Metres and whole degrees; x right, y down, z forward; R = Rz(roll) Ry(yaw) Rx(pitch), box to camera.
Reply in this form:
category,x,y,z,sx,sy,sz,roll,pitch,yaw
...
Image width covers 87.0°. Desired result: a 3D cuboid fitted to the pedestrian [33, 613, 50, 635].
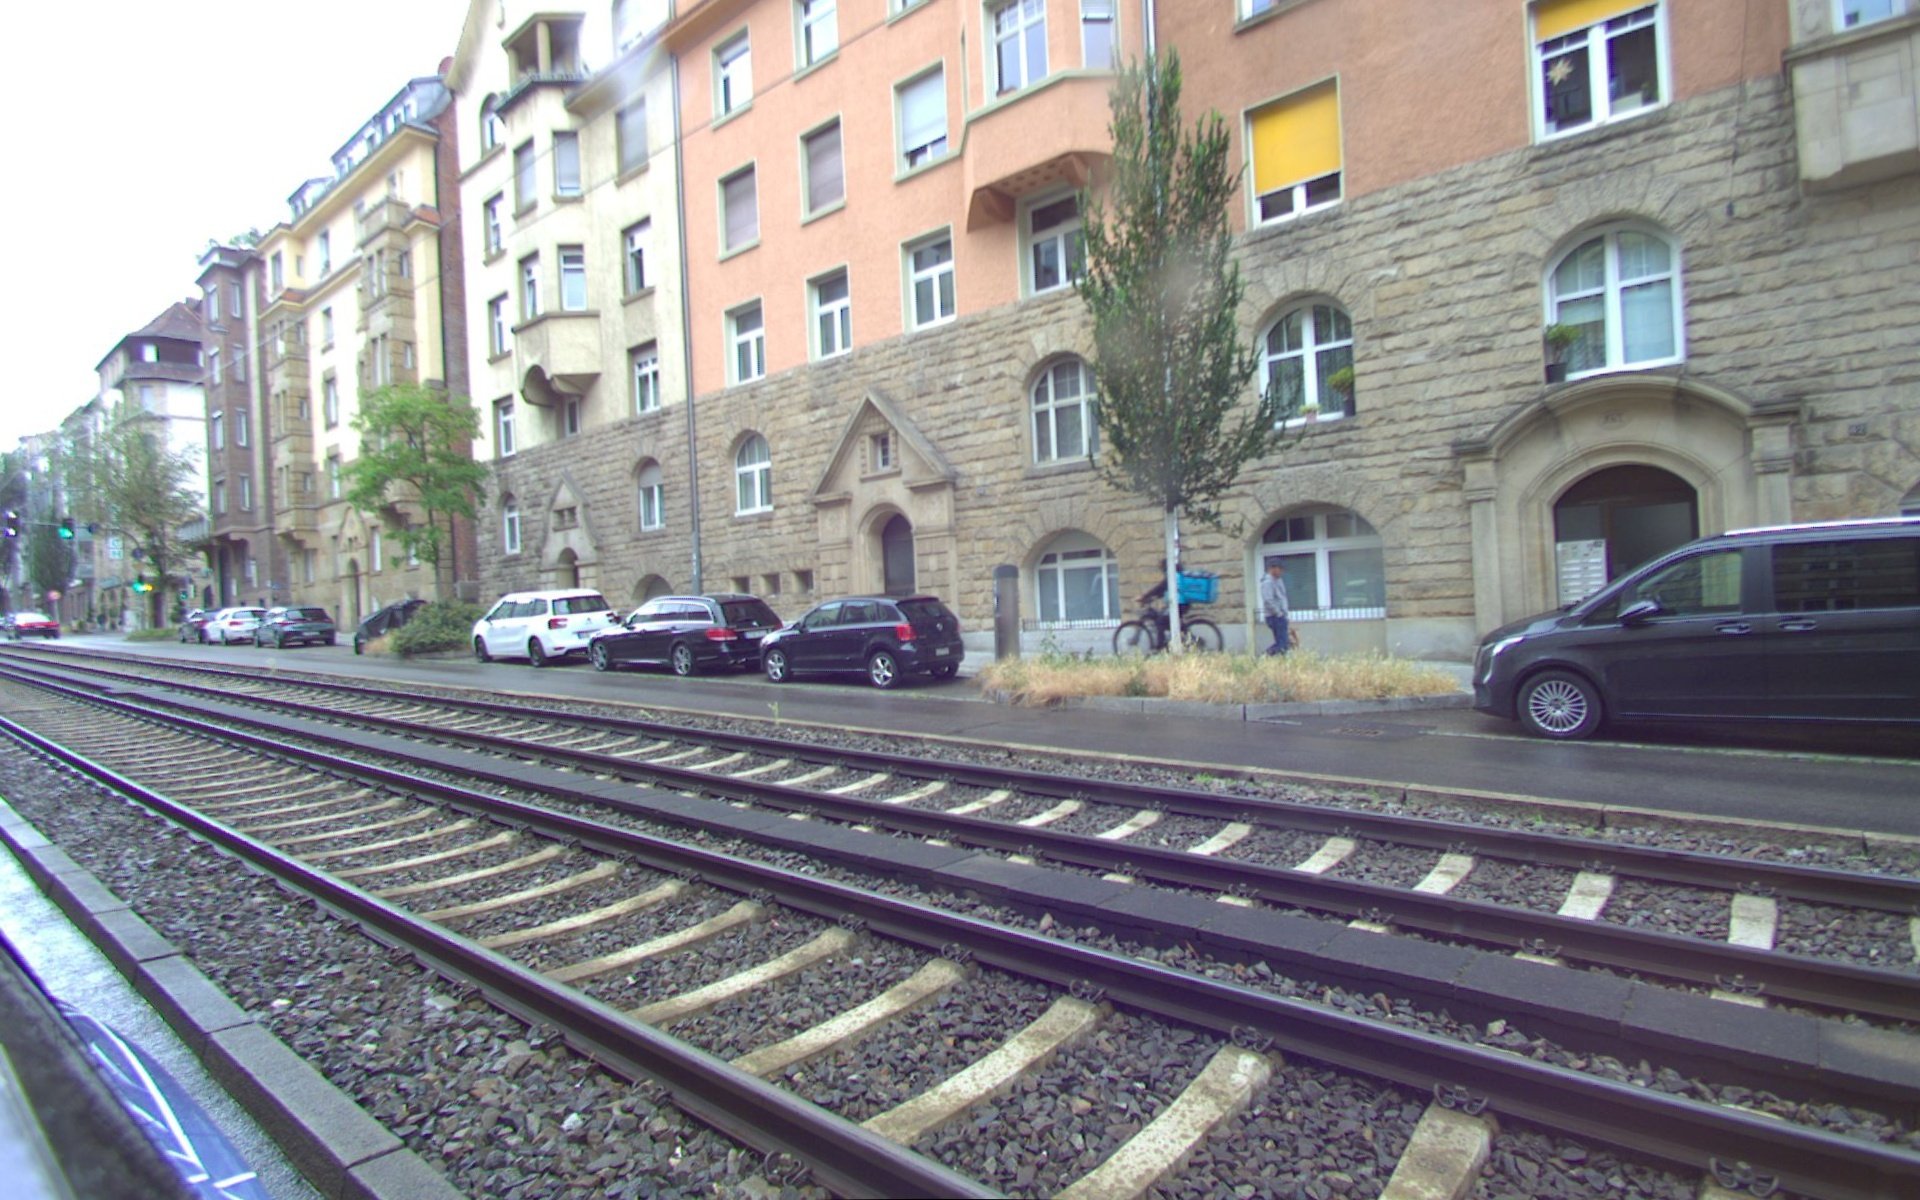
category,x,y,z,sx,sy,sz,roll,pitch,yaw
pedestrian,-84.263,2.186,92.815,1.163,1.972,1.042,-1,0,43

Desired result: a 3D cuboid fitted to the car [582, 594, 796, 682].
category,x,y,z,sx,sy,sz,roll,pitch,yaw
car,-5.426,0.711,19.934,4.599,1.506,1.824,-1,0,41

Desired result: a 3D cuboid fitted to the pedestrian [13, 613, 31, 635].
category,x,y,z,sx,sy,sz,roll,pitch,yaw
pedestrian,-85.098,2.196,91.836,1.163,1.972,1.042,-1,0,43

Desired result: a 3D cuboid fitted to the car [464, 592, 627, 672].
category,x,y,z,sx,sy,sz,roll,pitch,yaw
car,-9.733,0.718,23.607,4.144,1.668,1.843,-1,0,41

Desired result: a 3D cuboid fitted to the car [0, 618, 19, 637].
category,x,y,z,sx,sy,sz,roll,pitch,yaw
car,-80.902,2.327,85.412,3.843,1.527,1.748,-1,0,41

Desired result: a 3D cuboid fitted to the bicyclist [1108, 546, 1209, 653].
category,x,y,z,sx,sy,sz,roll,pitch,yaw
bicyclist,3.154,-0.018,16.084,1.252,1.609,0.875,-1,2,40

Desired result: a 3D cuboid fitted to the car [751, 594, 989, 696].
category,x,y,z,sx,sy,sz,roll,pitch,yaw
car,-1.545,0.682,16.912,3.638,1.508,1.912,-1,0,38

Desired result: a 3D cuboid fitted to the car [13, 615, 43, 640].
category,x,y,z,sx,sy,sz,roll,pitch,yaw
car,-69.026,2.027,74.973,1.561,1.691,3.794,-2,2,-43

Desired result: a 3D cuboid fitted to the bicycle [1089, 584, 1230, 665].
category,x,y,z,sx,sy,sz,roll,pitch,yaw
bicycle,3.151,0.388,16.102,2.035,1.195,0.816,-2,0,39

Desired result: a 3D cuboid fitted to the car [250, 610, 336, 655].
category,x,y,z,sx,sy,sz,roll,pitch,yaw
car,-23.671,1.116,35.857,3.845,1.452,1.656,-1,1,43

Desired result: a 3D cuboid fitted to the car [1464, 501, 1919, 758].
category,x,y,z,sx,sy,sz,roll,pitch,yaw
car,7.357,0.226,8.977,4.823,1.956,1.973,-1,0,41

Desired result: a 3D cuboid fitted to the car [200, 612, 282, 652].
category,x,y,z,sx,sy,sz,roll,pitch,yaw
car,-28.272,1.233,39.760,4.030,1.452,1.748,-1,1,42

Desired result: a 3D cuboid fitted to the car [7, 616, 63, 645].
category,x,y,z,sx,sy,sz,roll,pitch,yaw
car,-51.833,1.699,56.680,4.961,1.535,1.784,-1,0,41

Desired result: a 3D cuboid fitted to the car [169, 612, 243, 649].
category,x,y,z,sx,sy,sz,roll,pitch,yaw
car,-32.131,1.289,43.083,3.843,1.452,1.748,-1,0,41

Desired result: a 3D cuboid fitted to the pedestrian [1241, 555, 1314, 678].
category,x,y,z,sx,sy,sz,roll,pitch,yaw
pedestrian,4.438,0.223,14.140,0.765,1.654,0.692,-1,0,40
